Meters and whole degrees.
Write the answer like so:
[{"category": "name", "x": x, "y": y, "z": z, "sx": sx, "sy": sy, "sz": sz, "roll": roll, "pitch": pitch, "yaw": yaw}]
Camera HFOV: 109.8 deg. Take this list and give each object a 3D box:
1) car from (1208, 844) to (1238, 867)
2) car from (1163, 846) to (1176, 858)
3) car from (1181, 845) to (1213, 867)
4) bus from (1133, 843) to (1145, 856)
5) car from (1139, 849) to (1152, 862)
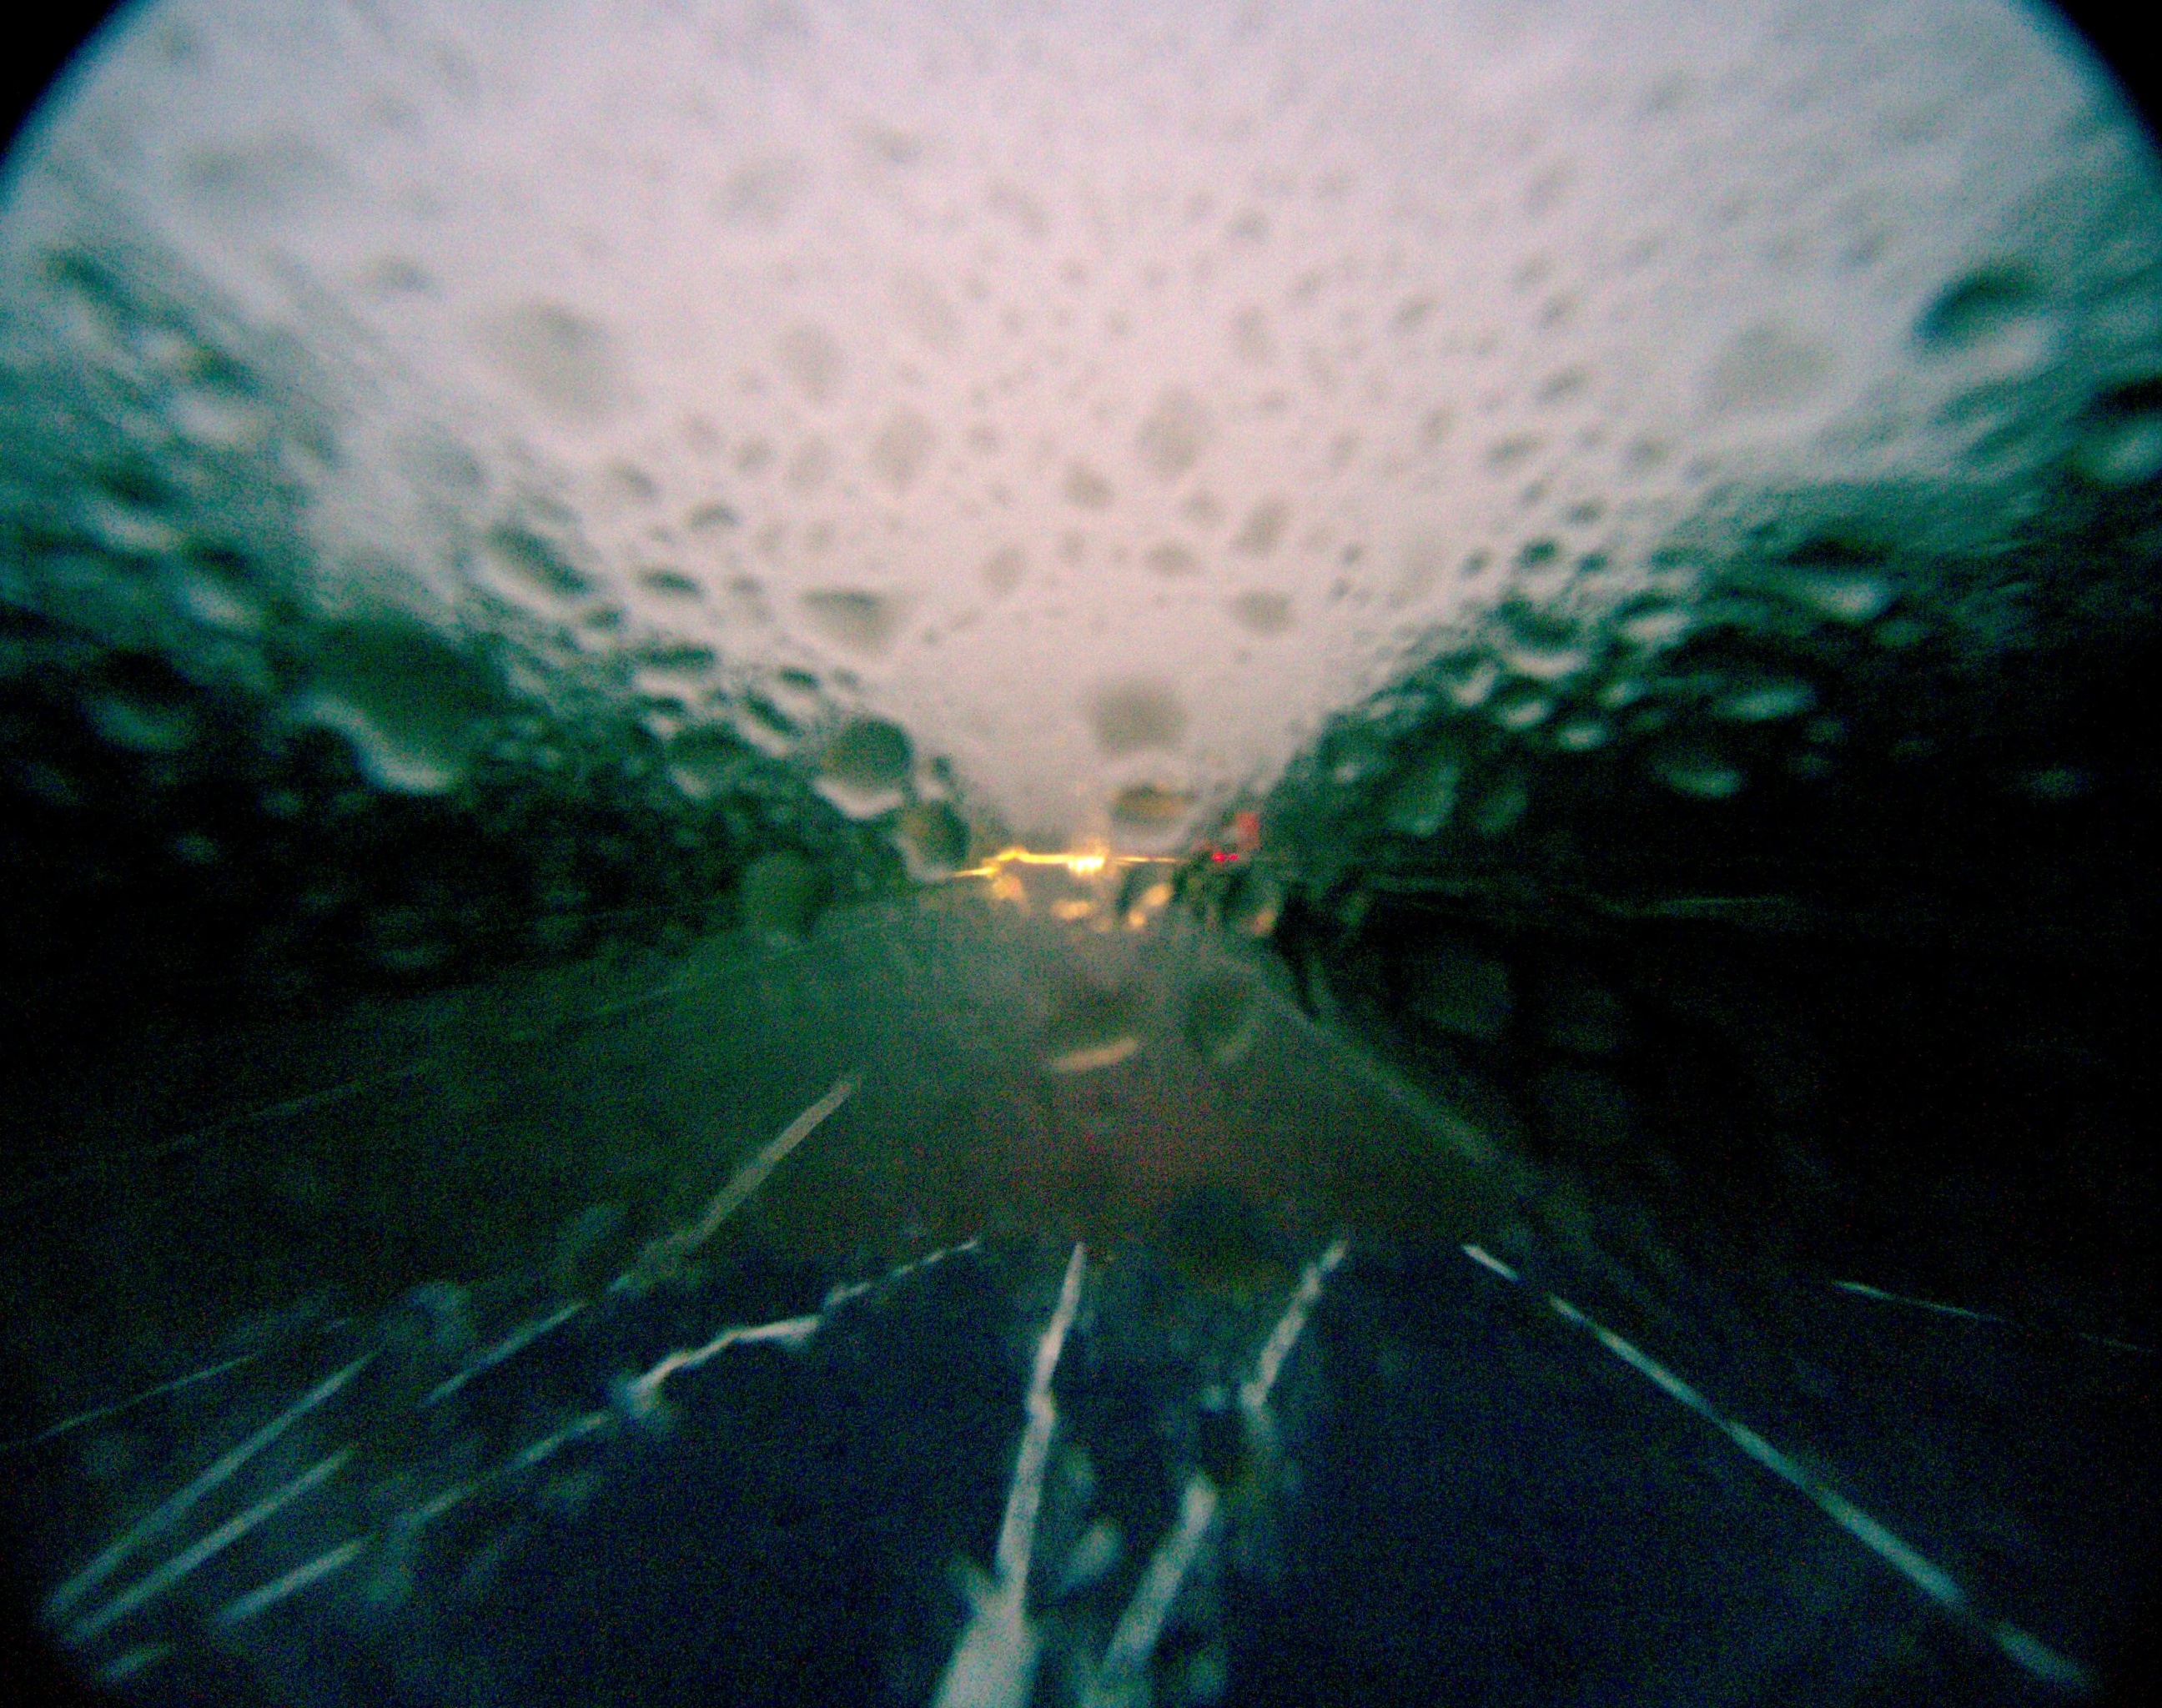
[{"category": "car", "x": 12.853, "y": 0.145, "z": 69.035, "sx": 1.998, "sy": 1.938, "sz": 4.711, "roll": -2, "pitch": 0, "yaw": 2}, {"category": "car", "x": 14.081, "y": -0.296, "z": 120.702, "sx": 1.635, "sy": 1.855, "sz": 3.897, "roll": -2, "pitch": 0, "yaw": 0}, {"category": "car", "x": 8.847, "y": 0.142, "z": 58.063, "sx": 1.813, "sy": 1.558, "sz": 4.000, "roll": -2, "pitch": 0, "yaw": 0}, {"category": "bus", "x": 16.057, "y": -1.163, "z": 210.235, "sx": 2.745, "sy": 3.534, "sz": 9.155, "roll": -2, "pitch": 0, "yaw": 1}, {"category": "car", "x": 10.614, "y": 0.265, "z": 124.689, "sx": 1.726, "sy": 2.075, "sz": 4.519, "roll": -2, "pitch": 0, "yaw": 1}]
